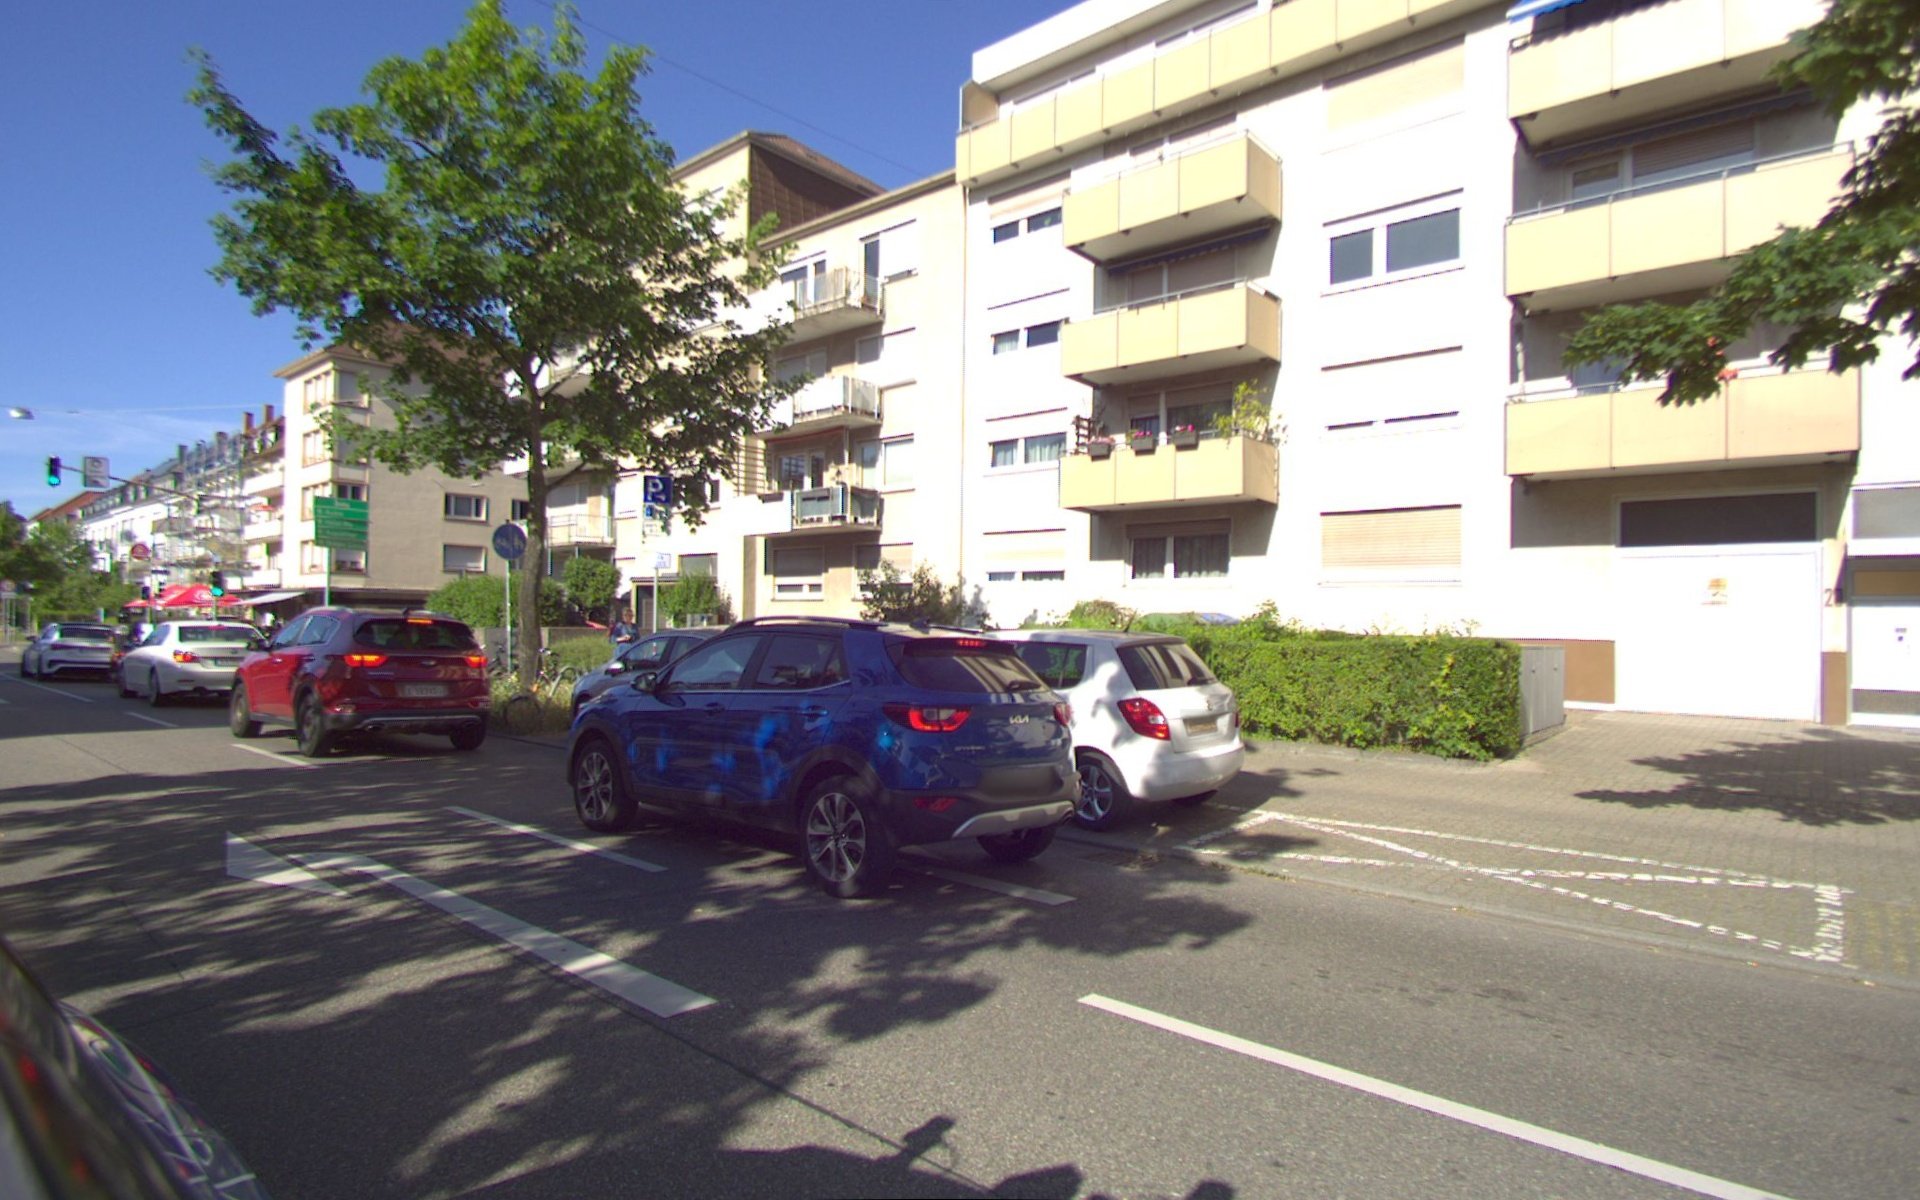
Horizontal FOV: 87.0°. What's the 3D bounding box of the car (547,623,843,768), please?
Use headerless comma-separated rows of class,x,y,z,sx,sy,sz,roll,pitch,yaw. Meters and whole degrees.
car,-3.302,1.023,12.240,3.892,1.487,1.489,-1,-1,40

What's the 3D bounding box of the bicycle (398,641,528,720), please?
bicycle,-8.013,1.268,16.371,0.559,1.095,1.808,-1,1,40

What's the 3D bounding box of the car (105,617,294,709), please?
car,-14.053,1.098,18.592,4.776,1.476,1.794,-1,-4,42

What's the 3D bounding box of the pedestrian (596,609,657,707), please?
pedestrian,-5.985,1.017,18.155,0.929,1.699,0.662,-1,-2,40

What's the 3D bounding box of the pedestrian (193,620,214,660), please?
pedestrian,-33.320,1.777,44.585,0.661,1.731,0.584,2,-1,-40

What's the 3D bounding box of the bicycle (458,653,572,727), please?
bicycle,-6.685,1.330,15.245,0.447,0.972,1.521,-1,1,40

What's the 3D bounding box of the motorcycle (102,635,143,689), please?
motorcycle,-18.680,1.374,22.562,0.442,1.130,1.933,6,-5,-45

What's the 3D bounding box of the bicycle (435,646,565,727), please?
bicycle,-7.196,1.331,15.899,0.492,1.095,1.808,-1,1,40

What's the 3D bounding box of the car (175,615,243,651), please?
car,-36.233,1.562,48.780,4.303,1.635,1.742,-1,-2,42

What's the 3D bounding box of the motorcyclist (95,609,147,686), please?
motorcyclist,-18.686,1.056,22.540,0.720,1.659,0.918,5,-5,-44

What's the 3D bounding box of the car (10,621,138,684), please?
car,-22.099,1.281,25.187,4.503,1.417,1.680,-1,-5,40

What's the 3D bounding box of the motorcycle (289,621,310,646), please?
motorcycle,-37.420,1.884,57.334,1.763,1.378,0.562,-1,-3,43

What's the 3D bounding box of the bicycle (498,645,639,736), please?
bicycle,-5.488,1.233,14.273,0.559,1.095,1.808,-1,1,40

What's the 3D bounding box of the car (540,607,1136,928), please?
car,-1.021,0.878,6.824,4.074,1.529,1.638,-1,-5,41

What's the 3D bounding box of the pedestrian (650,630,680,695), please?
pedestrian,-5.473,1.152,18.766,0.489,1.169,0.331,-1,-2,40

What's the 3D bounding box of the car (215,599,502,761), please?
car,-7.424,0.907,12.310,4.298,1.629,1.703,-1,-5,42

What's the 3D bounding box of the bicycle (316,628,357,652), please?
bicycle,-28.954,1.866,47.006,0.449,1.085,1.546,-1,-2,39

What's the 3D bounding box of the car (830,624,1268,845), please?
car,0.607,0.966,8.717,3.684,1.501,1.386,-1,-2,42

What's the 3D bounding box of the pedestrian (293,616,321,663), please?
pedestrian,-23.558,1.408,36.516,0.682,1.671,0.650,-1,-2,42
